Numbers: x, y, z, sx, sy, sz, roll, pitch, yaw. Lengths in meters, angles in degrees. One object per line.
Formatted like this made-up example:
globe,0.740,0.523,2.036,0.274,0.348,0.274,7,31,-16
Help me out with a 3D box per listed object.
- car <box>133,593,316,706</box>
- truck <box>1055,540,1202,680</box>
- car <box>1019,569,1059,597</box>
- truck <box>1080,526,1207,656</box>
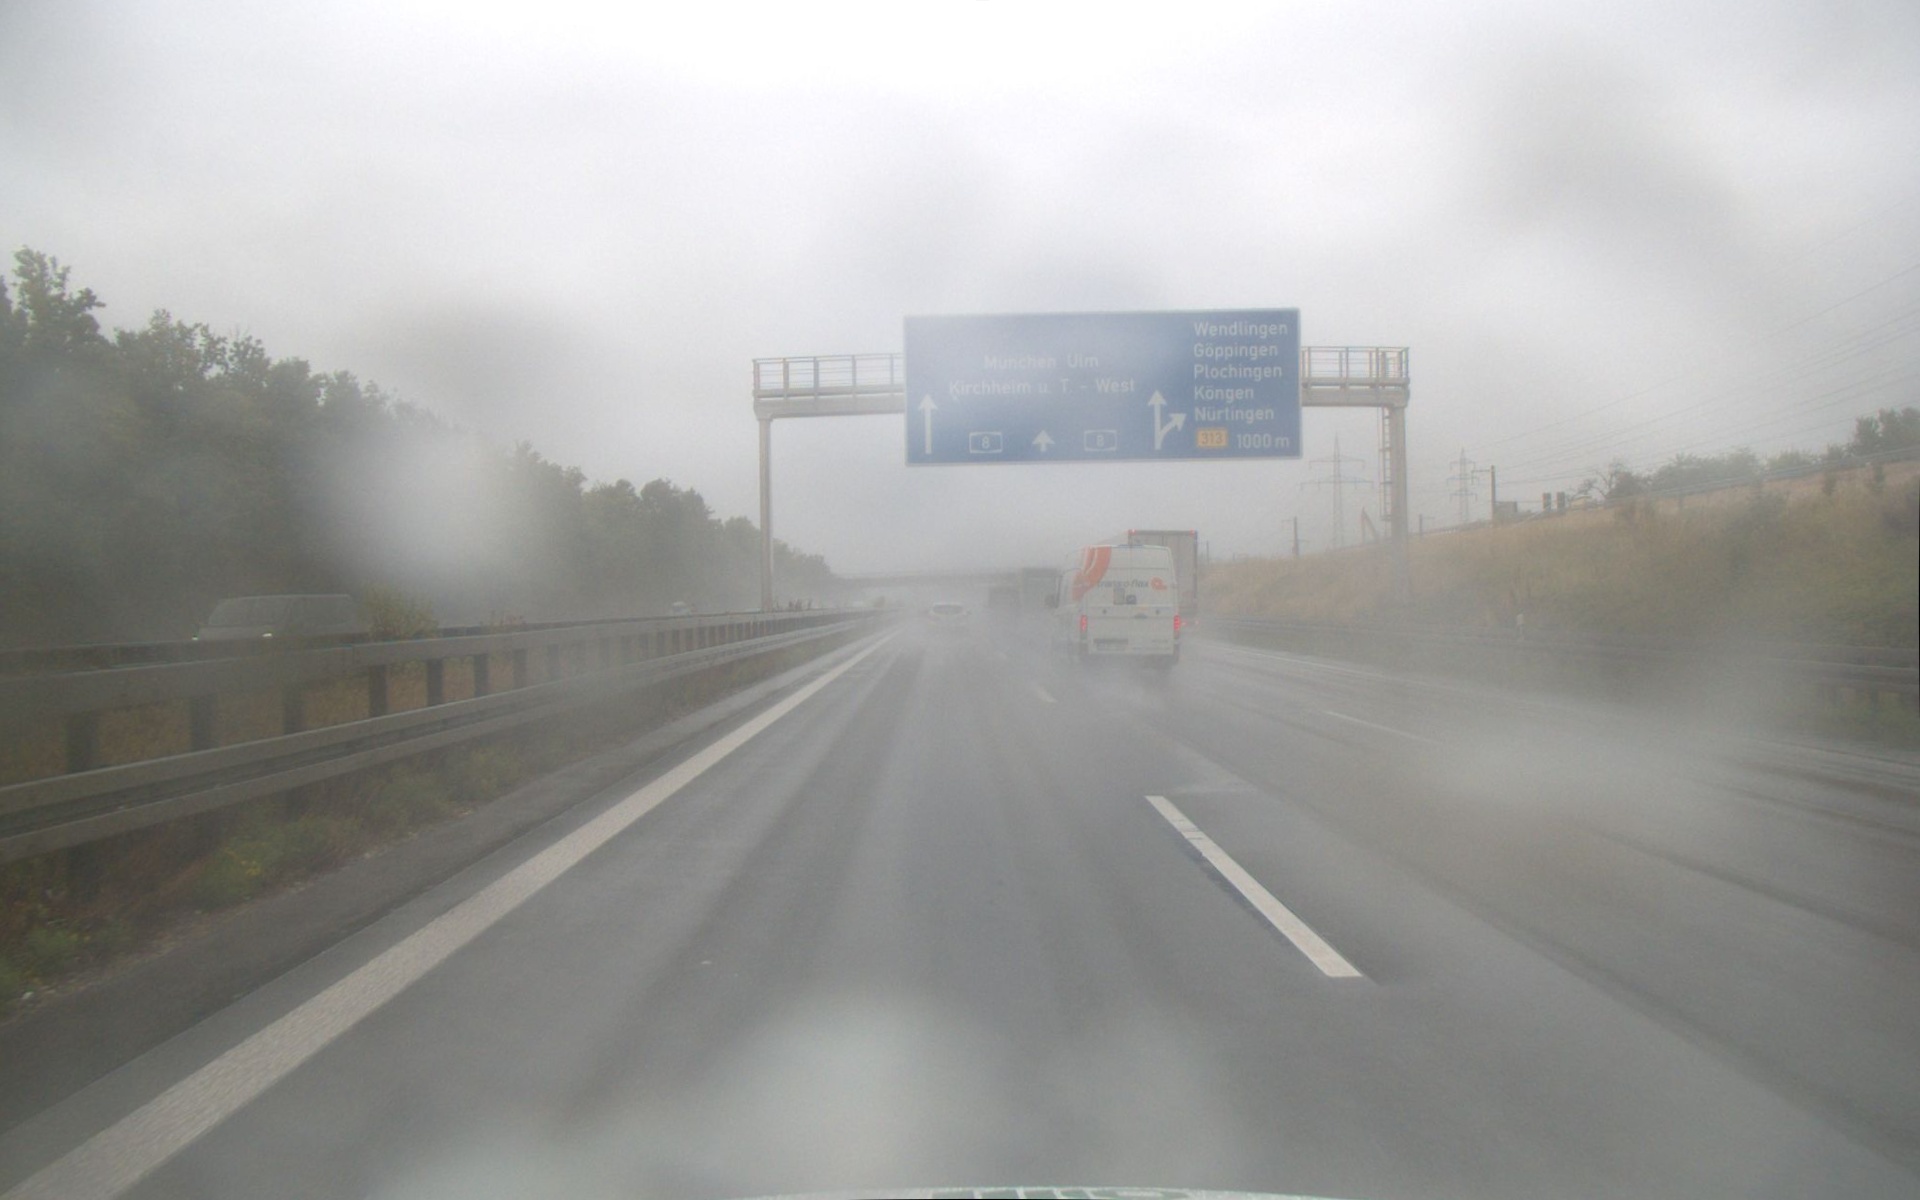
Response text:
car,-15.868,1.002,35.976,1.991,2.211,4.664,1,1,-2
truck,3.246,0.135,33.096,2.370,2.536,5.560,1,1,0
car,6.027,-1.325,126.770,2.731,2.049,4.992,1,1,-1
truck,7.269,-0.318,68.256,2.978,4.668,16.346,1,0,-1
